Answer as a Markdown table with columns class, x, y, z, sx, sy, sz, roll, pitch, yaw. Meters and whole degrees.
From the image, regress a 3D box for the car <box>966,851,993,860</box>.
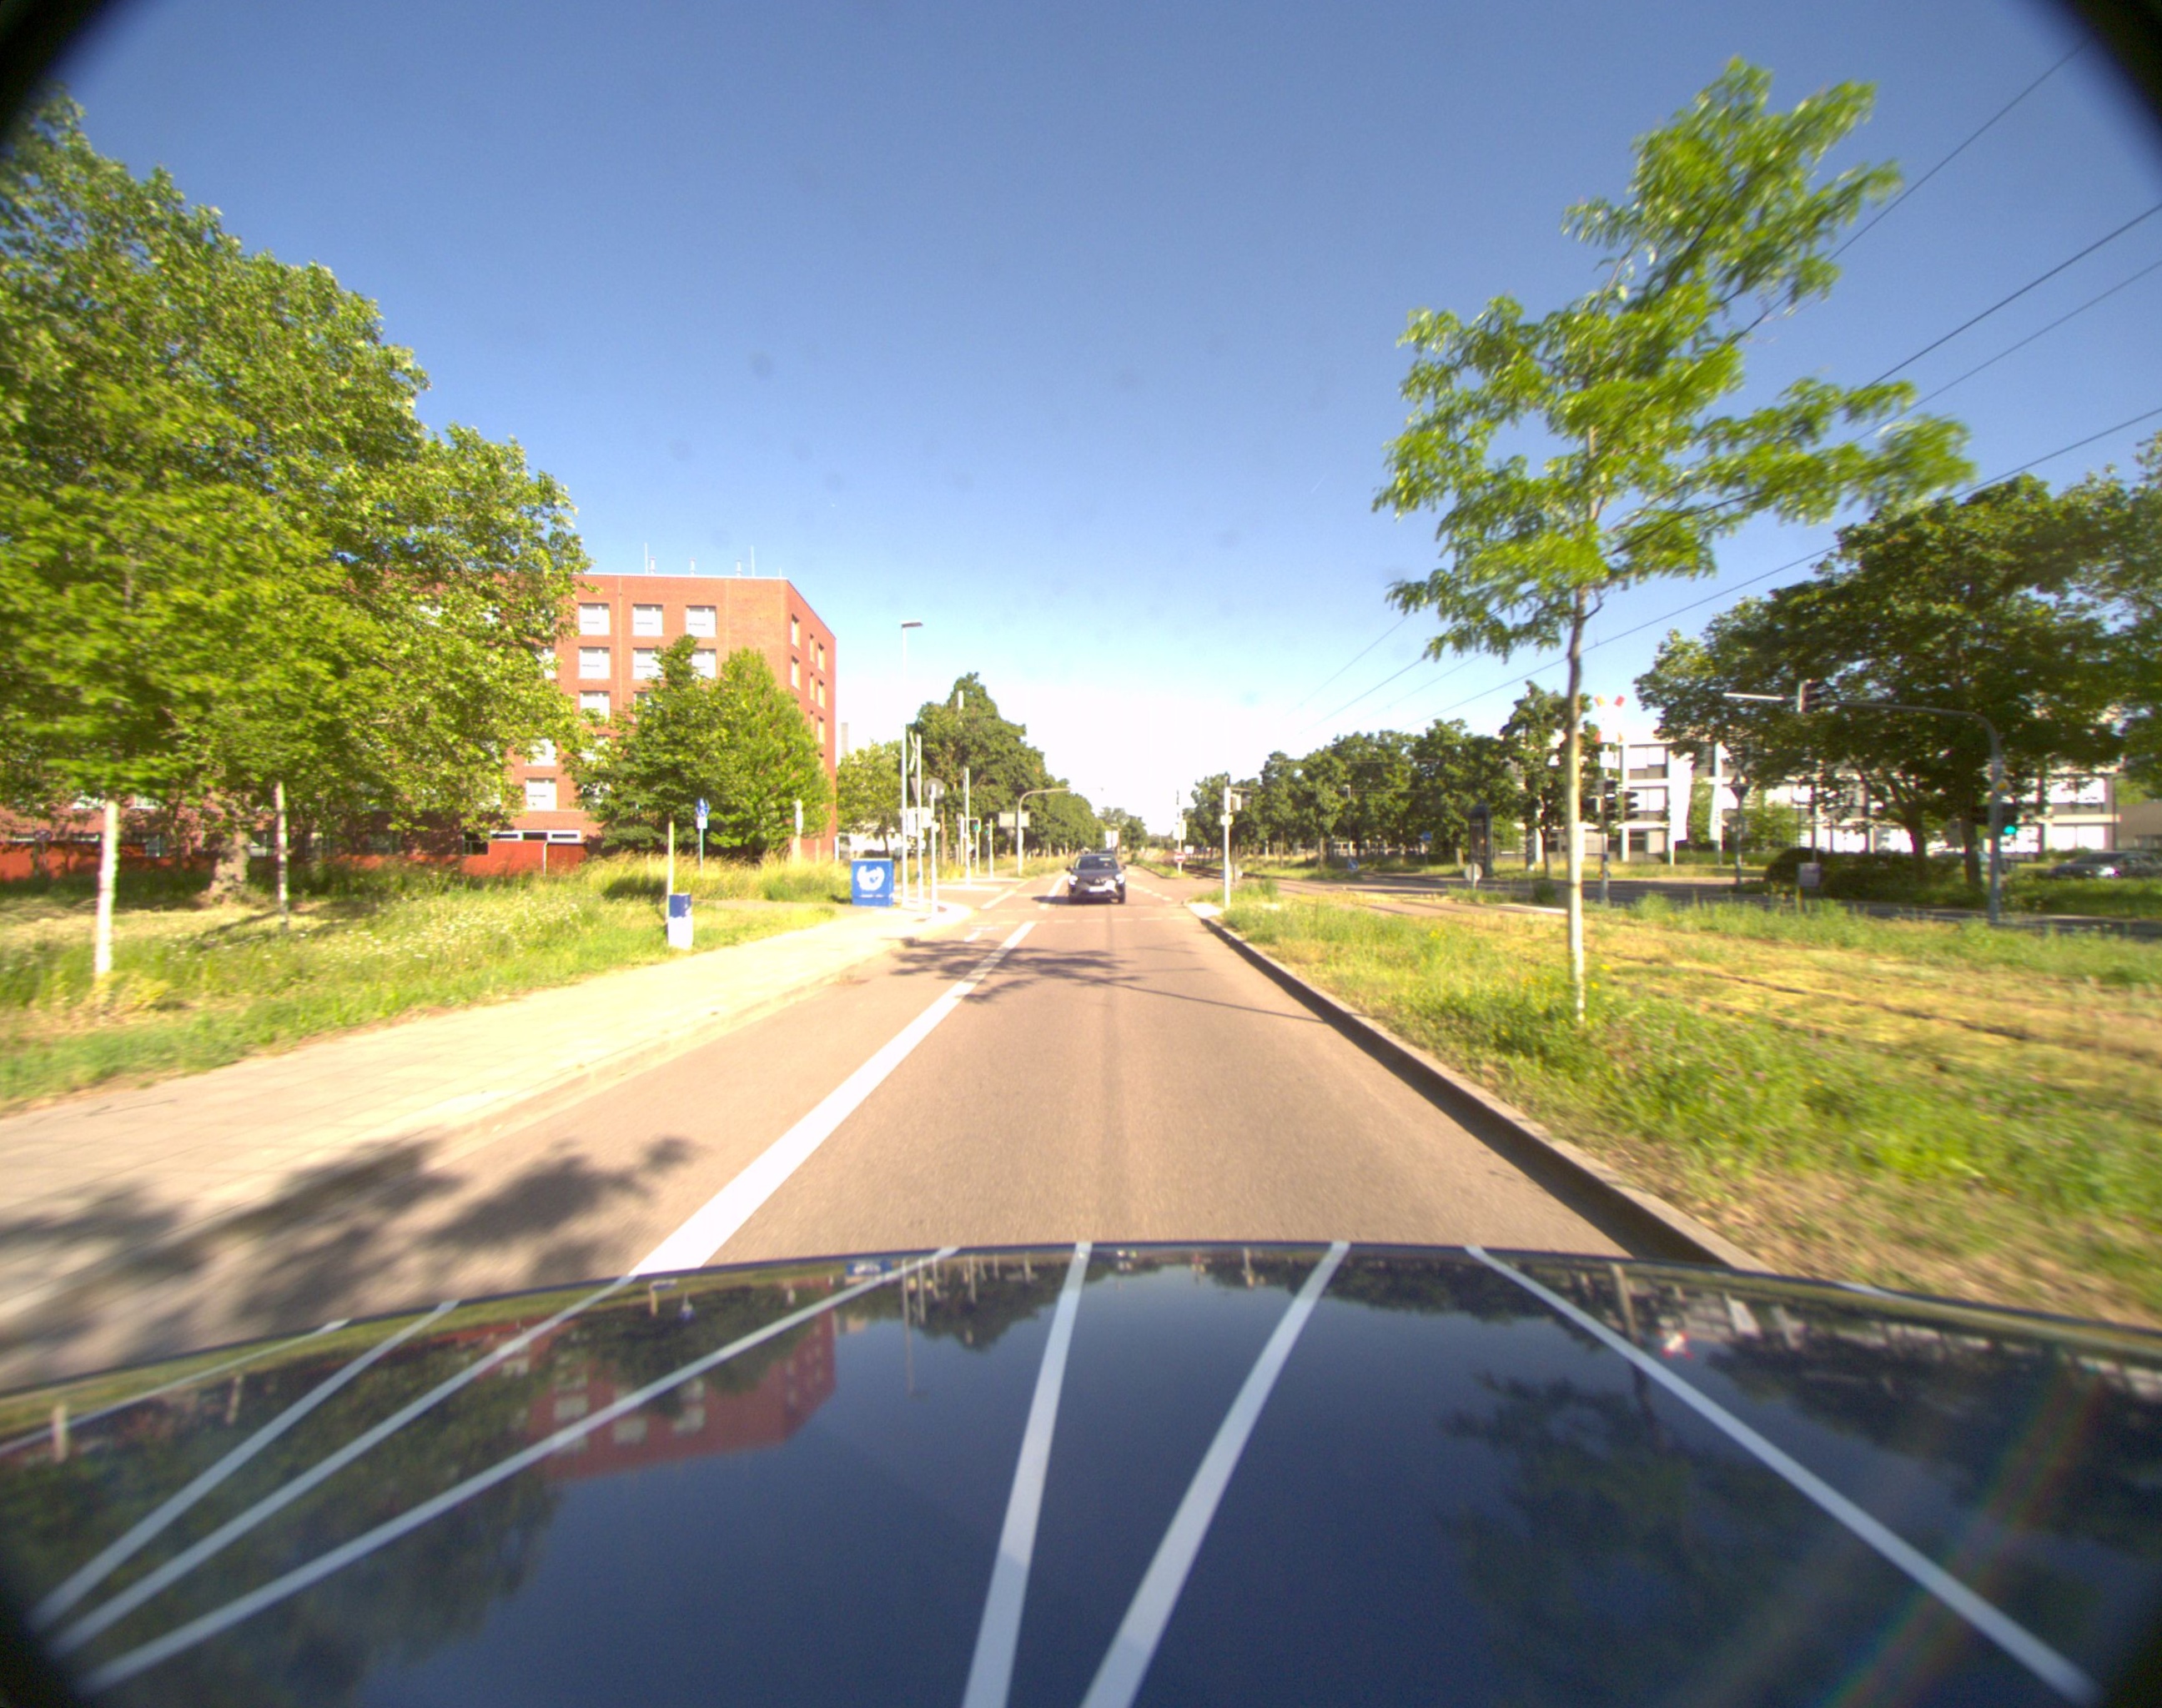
| class | x | y | z | sx | sy | sz | roll | pitch | yaw |
| --- | --- | --- | --- | --- | --- | --- | --- | --- | --- |
| car | -17.159 | 0.263 | 128.897 | 4.173 | 1.423 | 1.825 | -1 | 1 | 8 |

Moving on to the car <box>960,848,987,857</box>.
| class | x | y | z | sx | sy | sz | roll | pitch | yaw |
| --- | --- | --- | --- | --- | --- | --- | --- | --- | --- |
| car | -16.974 | -0.229 | 120.123 | 4.038 | 1.496 | 1.739 | 0 | 1 | 6 |

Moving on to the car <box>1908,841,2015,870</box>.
| class | x | y | z | sx | sy | sz | roll | pitch | yaw |
| --- | --- | --- | --- | --- | --- | --- | --- | --- | --- |
| car | 51.047 | 0.046 | 44.070 | 4.431 | 1.630 | 1.988 | 0 | 1 | -9 |

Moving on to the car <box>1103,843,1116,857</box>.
| class | x | y | z | sx | sy | sz | roll | pitch | yaw |
| --- | --- | --- | --- | --- | --- | --- | --- | --- | --- |
| car | 3.824 | -0.528 | 101.136 | 1.554 | 1.765 | 3.458 | 1 | 1 | 5 |

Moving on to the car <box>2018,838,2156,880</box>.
| class | x | y | z | sx | sy | sz | roll | pitch | yaw |
| --- | --- | --- | --- | --- | --- | --- | --- | --- | --- |
| car | 42.000 | 0.189 | 31.763 | 4.000 | 1.658 | 1.829 | -1 | 1 | -10 |

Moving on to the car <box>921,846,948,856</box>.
| class | x | y | z | sx | sy | sz | roll | pitch | yaw |
| --- | --- | --- | --- | --- | --- | --- | --- | --- | --- |
| car | -28.659 | -0.606 | 148.764 | 4.759 | 1.938 | 1.975 | 0 | 0 | 5 |

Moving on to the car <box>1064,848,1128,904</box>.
| class | x | y | z | sx | sy | sz | roll | pitch | yaw |
| --- | --- | --- | --- | --- | --- | --- | --- | --- | --- |
| car | 0.571 | 0.647 | 24.559 | 1.749 | 1.585 | 4.248 | 0 | 1 | 5 |
